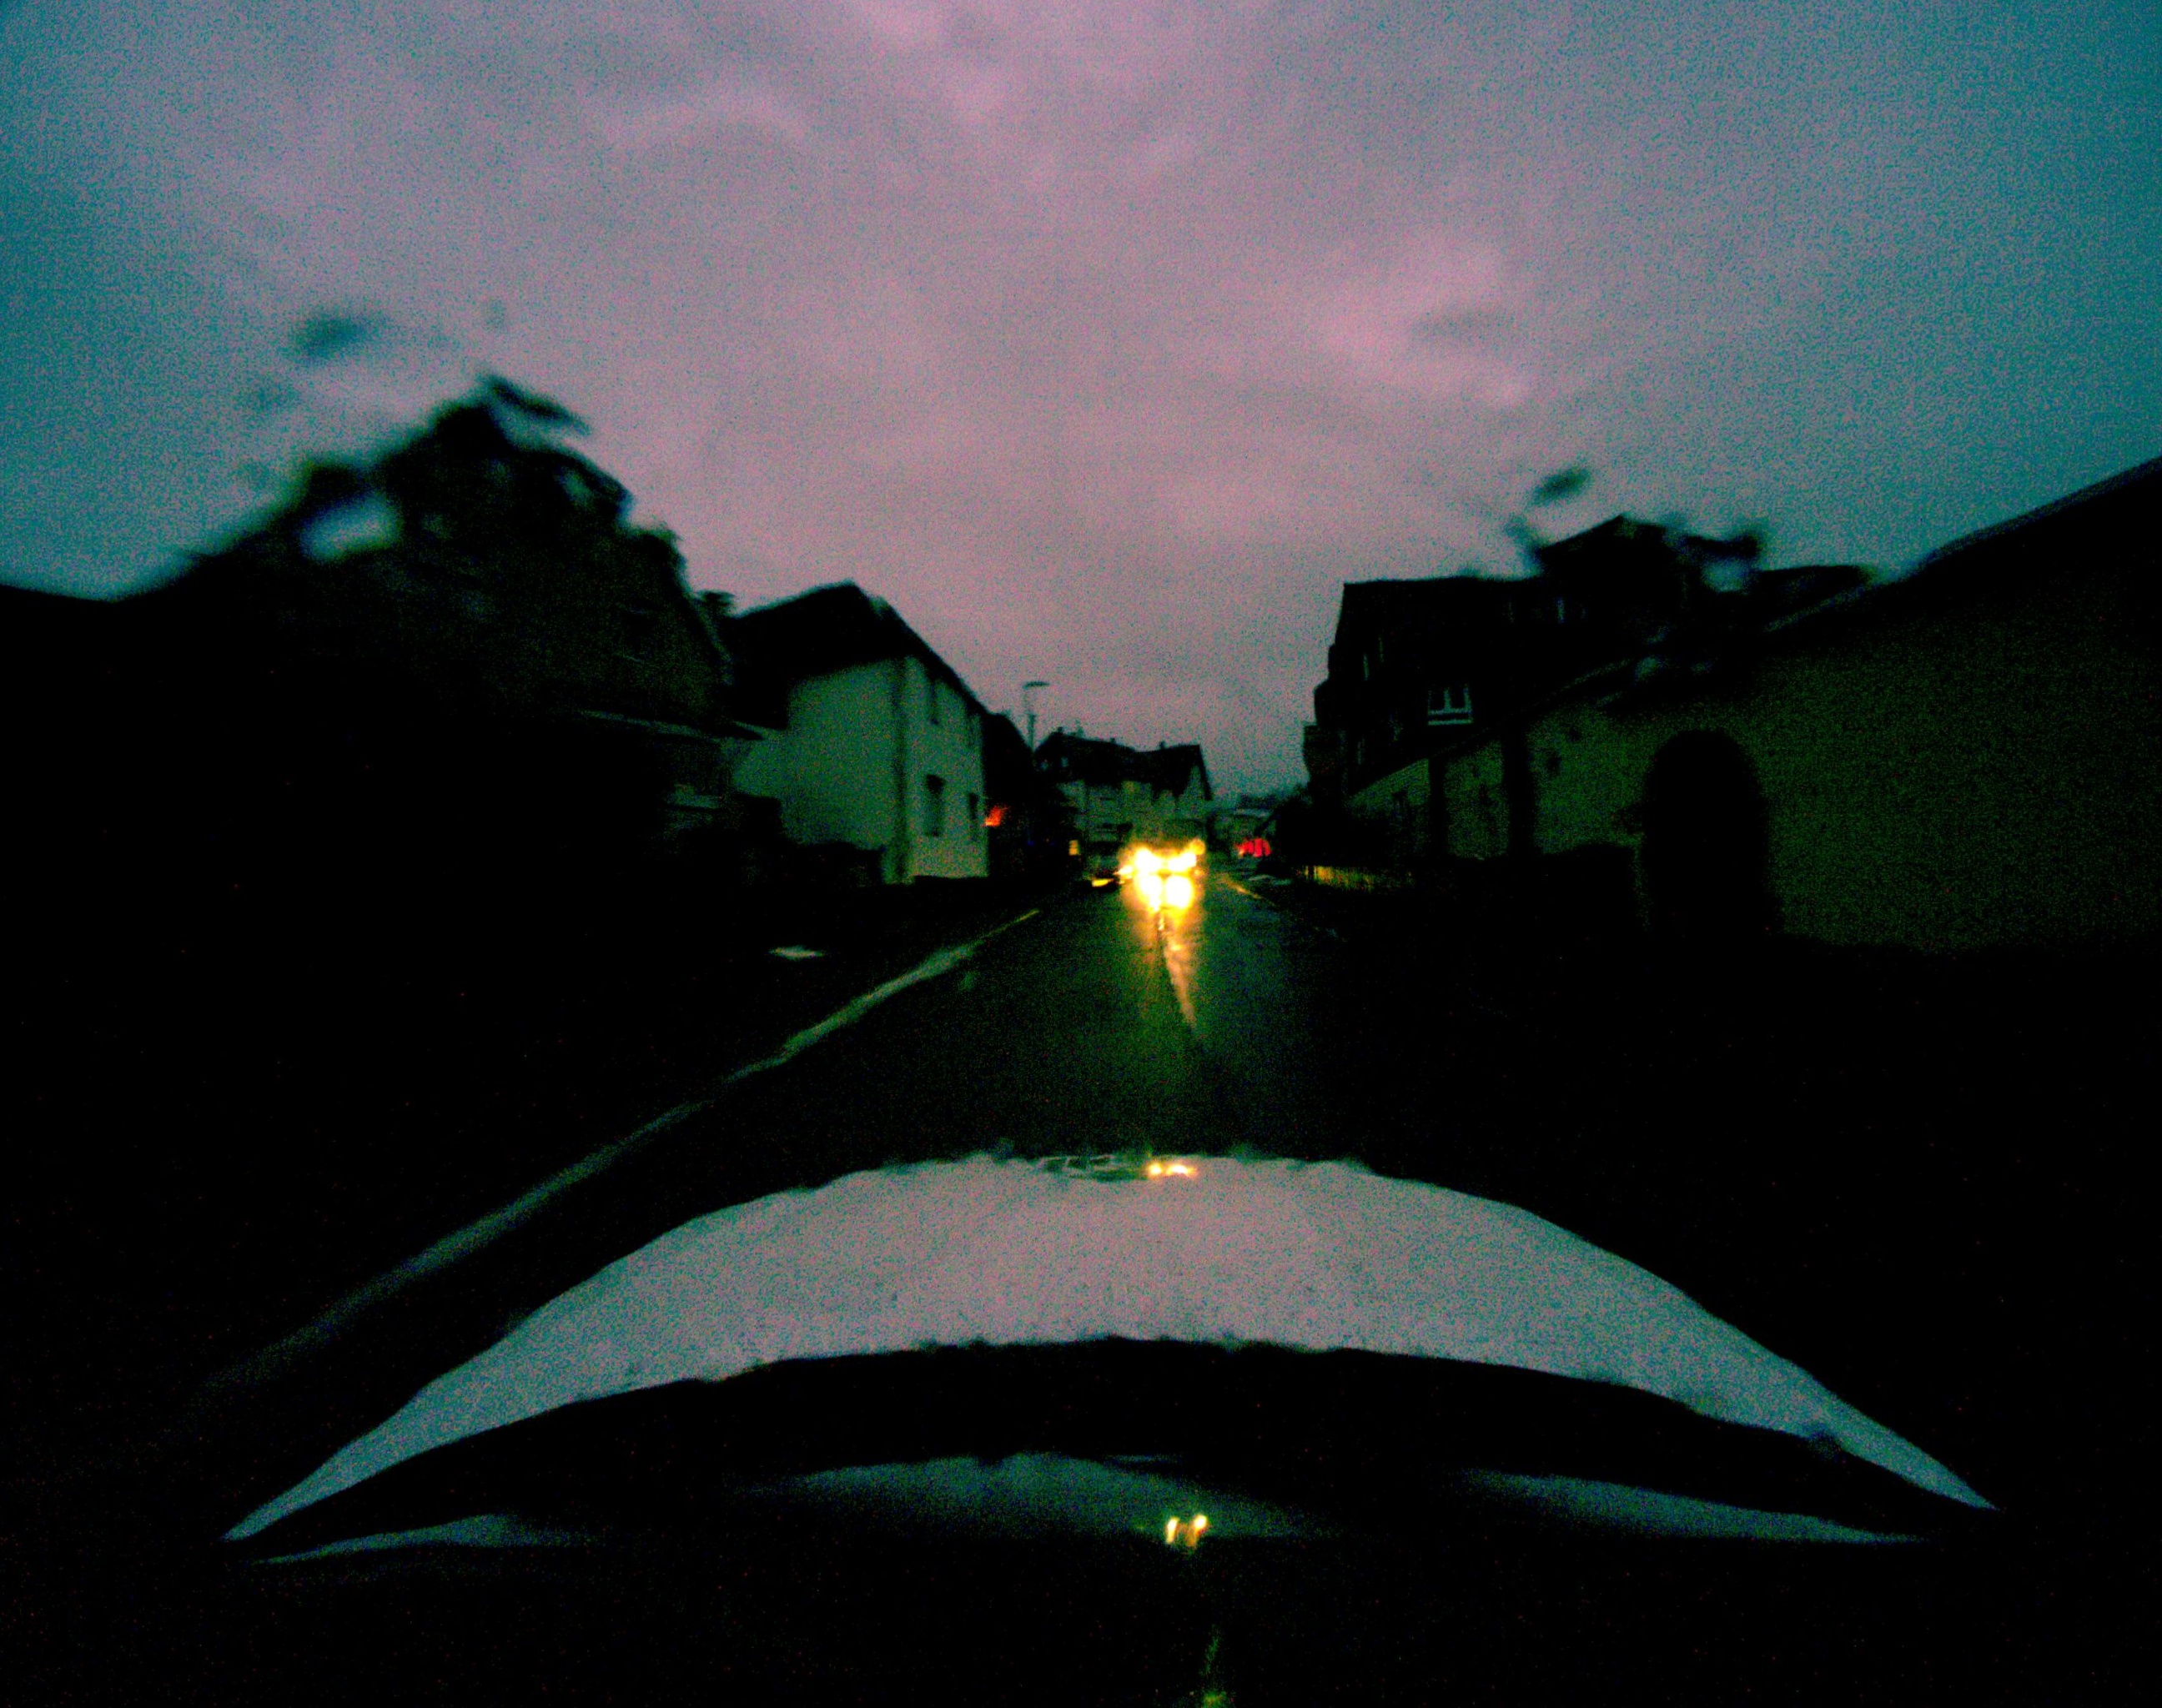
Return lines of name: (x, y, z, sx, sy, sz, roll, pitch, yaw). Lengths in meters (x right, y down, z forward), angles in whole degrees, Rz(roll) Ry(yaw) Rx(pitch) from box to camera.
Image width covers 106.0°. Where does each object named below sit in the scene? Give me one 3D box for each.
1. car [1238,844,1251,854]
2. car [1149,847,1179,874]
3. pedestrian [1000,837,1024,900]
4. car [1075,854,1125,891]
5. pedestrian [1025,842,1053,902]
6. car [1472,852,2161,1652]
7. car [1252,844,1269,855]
car: (28.282, -0.884, 141.128, 1.982, 1.618, 4.010, 0, -1, 9)
car: (5.179, 0.395, 51.075, 1.749, 1.581, 4.005, -1, -1, 5)
pedestrian: (-2.103, 0.447, 24.897, 0.595, 1.869, 0.813, -1, -1, 5)
car: (0.877, 0.734, 34.544, 1.814, 1.440, 4.073, -1, 0, 5)
pedestrian: (-1.267, 0.531, 24.736, 0.702, 1.779, 0.813, -1, -1, 5)
car: (2.799, 0.710, 1.663, 1.720, 1.432, 4.798, -1, -1, 1)
car: (26.877, -0.627, 122.035, 1.977, 1.618, 4.019, 0, -1, 19)
